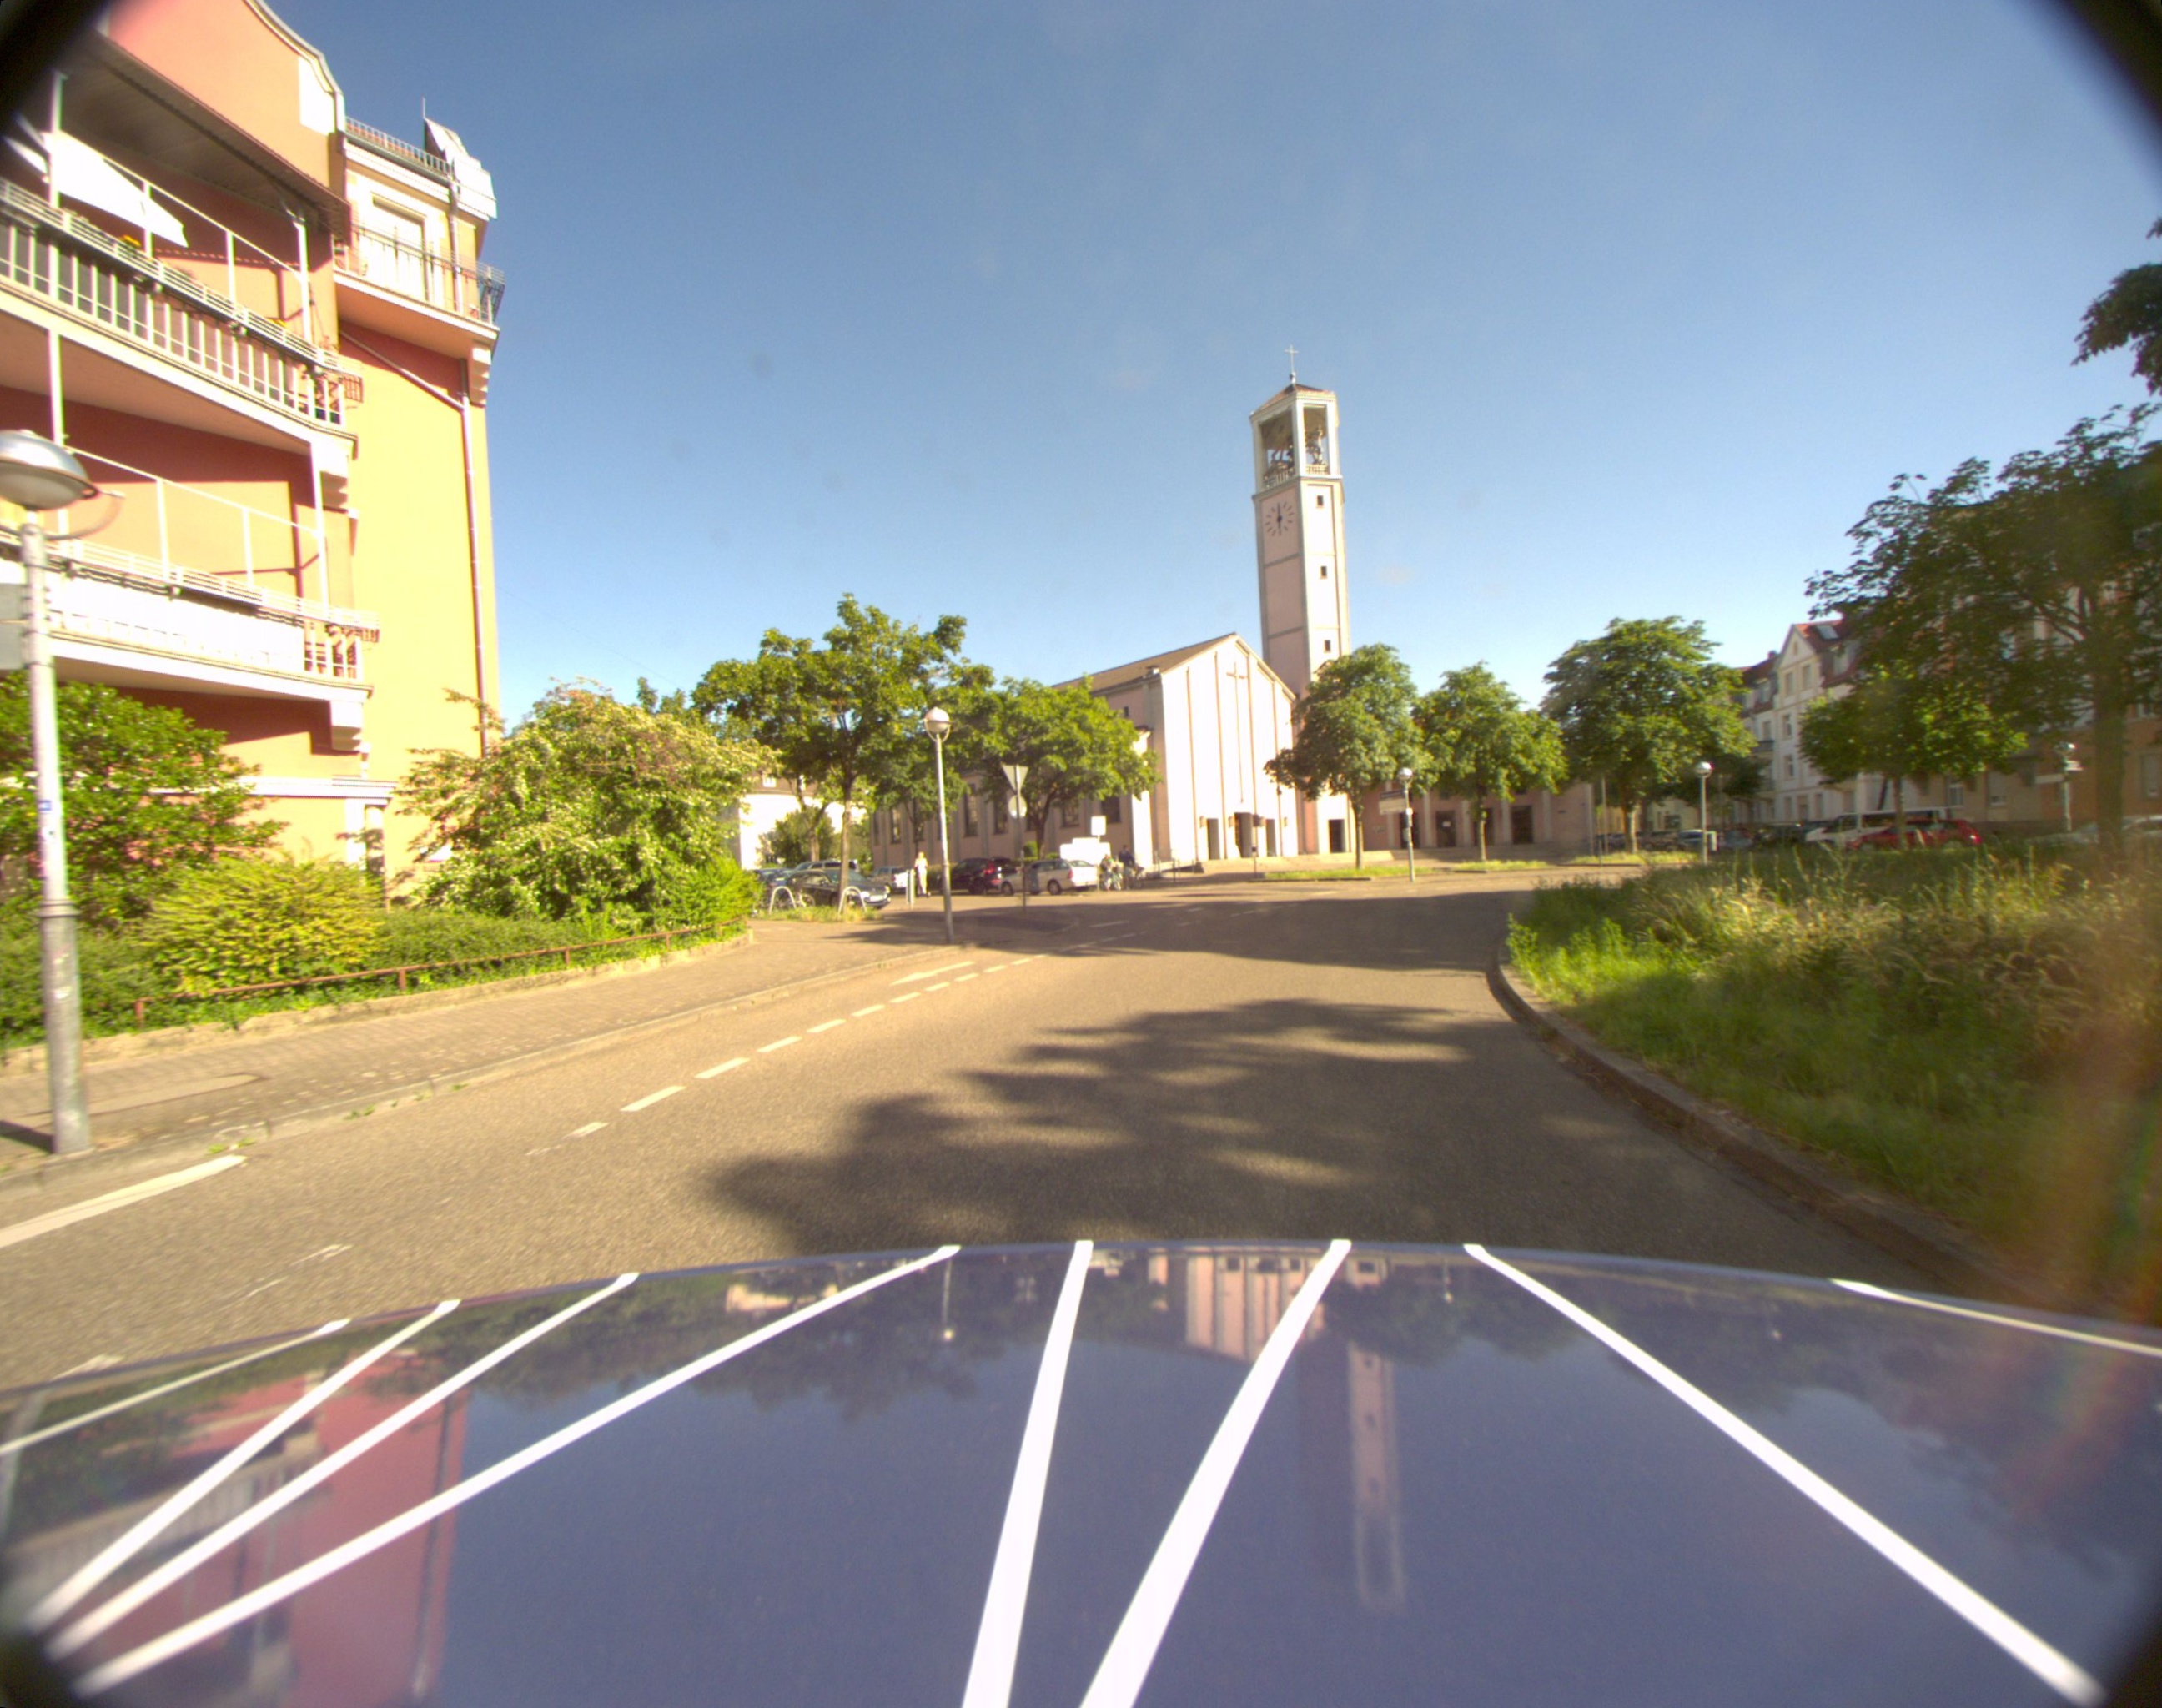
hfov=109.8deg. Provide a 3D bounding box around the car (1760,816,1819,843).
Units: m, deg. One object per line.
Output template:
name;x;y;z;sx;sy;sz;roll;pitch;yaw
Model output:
car;48.532;-1.667;52.104;1.757;1.648;3.961;-2;0;25

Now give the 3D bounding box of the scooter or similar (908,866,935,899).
scooter or similar;-6.559;1.168;31.288;0.633;1.275;1.103;-3;0;-37

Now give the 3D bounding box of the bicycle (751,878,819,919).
bicycle;-8.622;1.272;22.173;1.730;1.108;0.544;0;-1;-44

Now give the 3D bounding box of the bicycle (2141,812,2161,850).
bicycle;35.343;-0.776;24.093;1.865;1.191;0.766;-3;1;38

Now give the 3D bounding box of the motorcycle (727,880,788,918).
motorcycle;-10.229;1.399;24.048;0.499;1.100;1.730;-2;-1;39

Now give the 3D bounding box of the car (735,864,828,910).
car;-12.138;1.305;30.662;1.812;1.553;4.387;-6;3;-44

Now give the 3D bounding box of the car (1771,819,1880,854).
car;40.517;-0.939;41.434;1.764;1.728;3.946;-3;0;-36

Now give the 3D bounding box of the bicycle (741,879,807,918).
bicycle;-9.215;1.319;22.841;1.730;1.108;0.544;0;-1;-44

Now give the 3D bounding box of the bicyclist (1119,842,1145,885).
bicyclist;2.050;0.385;30.589;0.647;1.705;0.721;-4;1;-37

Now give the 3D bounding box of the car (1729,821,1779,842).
car;50.603;-1.708;57.212;1.757;1.447;3.961;-2;0;25

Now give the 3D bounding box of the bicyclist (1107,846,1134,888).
bicyclist;1.542;0.515;29.462;0.597;1.572;0.802;-4;2;-35

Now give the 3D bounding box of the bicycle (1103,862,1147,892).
bicycle;1.689;0.874;29.288;0.597;1.101;1.859;-4;1;-35

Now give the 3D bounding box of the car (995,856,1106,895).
car;-1.275;0.861;30.253;4.327;1.407;1.813;-3;-1;42

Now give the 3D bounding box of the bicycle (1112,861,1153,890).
bicycle;2.068;0.846;30.610;0.647;1.101;1.712;-4;1;-37

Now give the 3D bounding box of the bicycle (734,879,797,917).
bicycle;-9.751;1.343;23.538;0.499;1.100;1.833;-2;-1;31

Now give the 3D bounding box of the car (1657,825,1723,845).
car;50.924;-1.561;63.606;1.764;1.487;3.946;-3;0;-31

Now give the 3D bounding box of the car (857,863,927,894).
car;-10.002;1.300;39.989;1.813;1.465;4.327;-2;-1;-41

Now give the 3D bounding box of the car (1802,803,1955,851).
car;37.797;-1.240;36.127;1.997;2.033;4.694;-3;0;-33

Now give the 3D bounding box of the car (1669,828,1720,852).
car;38.891;-0.896;48.242;1.610;1.414;3.619;-3;0;24

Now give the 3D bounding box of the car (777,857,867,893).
car;-15.532;1.237;45.716;1.805;1.989;4.789;-3;-1;42

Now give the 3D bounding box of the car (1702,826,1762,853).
car;37.476;-0.851;43.814;1.610;1.414;3.619;-3;0;24

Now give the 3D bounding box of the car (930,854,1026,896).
car;-4.640;0.947;34.023;4.327;1.718;1.813;-3;-1;42

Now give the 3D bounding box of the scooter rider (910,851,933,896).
scooter rider;-6.578;0.794;31.285;0.626;1.821;0.630;-3;1;-37

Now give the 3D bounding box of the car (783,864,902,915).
car;-8.261;1.215;26.150;4.327;1.475;1.812;-3;3;41

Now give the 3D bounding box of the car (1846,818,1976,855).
car;36.475;-0.751;33.461;1.672;1.427;3.687;-3;0;-36

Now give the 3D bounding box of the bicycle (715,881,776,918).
bicycle;-10.730;1.425;24.320;0.499;1.100;1.730;-2;-1;39
